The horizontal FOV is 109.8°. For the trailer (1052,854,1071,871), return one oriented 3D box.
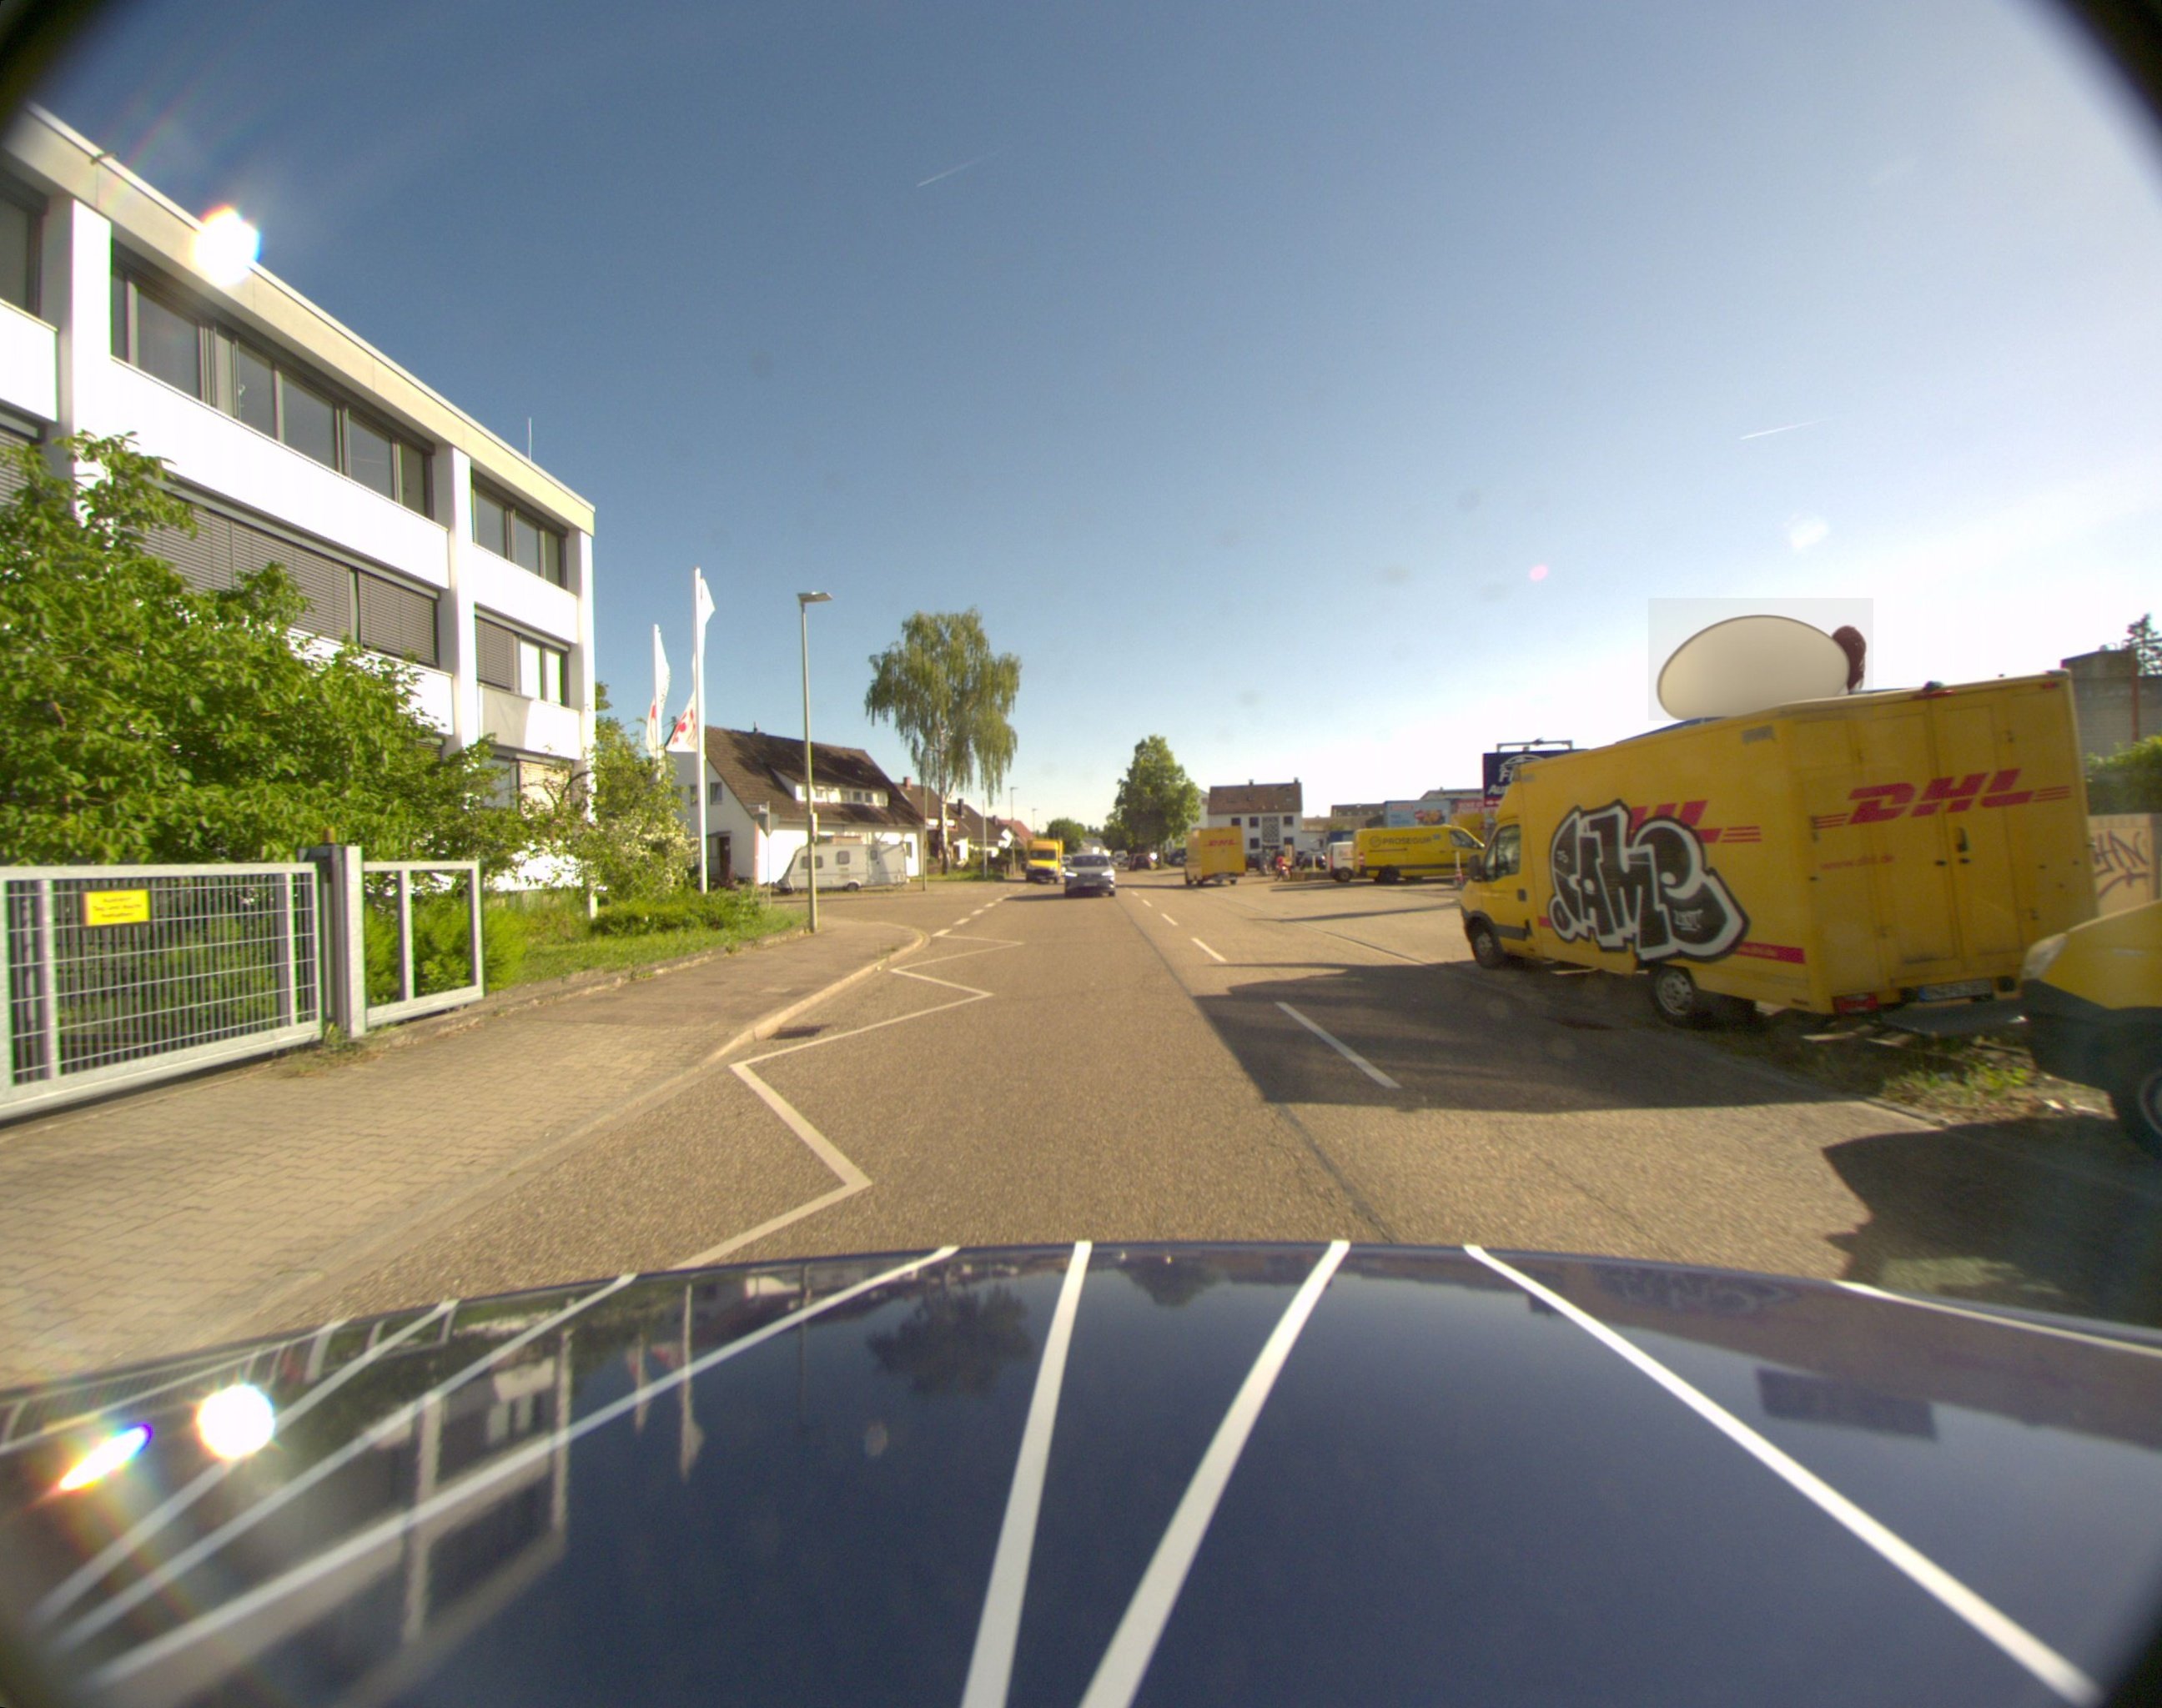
[{"bbox_3d":[-1.876,0.820,74.241,1.631,1.529,3.198,-1,0,2],"label":"trailer"}]

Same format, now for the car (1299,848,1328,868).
[{"bbox_3d":[18.553,0.331,60.758,1.779,1.536,4.168,-1,-1,12],"label":"car"}]

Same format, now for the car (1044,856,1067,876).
[{"bbox_3d":[-2.164,0.930,62.683,1.788,1.533,4.536,-1,0,-3],"label":"car"}]

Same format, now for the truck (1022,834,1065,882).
[{"bbox_3d":[-2.370,0.207,50.301,2.409,2.919,7.015,1,0,0],"label":"truck"}]

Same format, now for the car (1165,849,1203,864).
[{"bbox_3d":[11.936,0.280,88.212,4.258,1.742,1.766,-1,0,4],"label":"car"}]

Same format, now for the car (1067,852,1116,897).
[{"bbox_3d":[0.373,0.782,30.017,1.777,1.624,3.704,-1,-1,-1],"label":"car"}]

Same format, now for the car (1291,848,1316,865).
[{"bbox_3d":[21.661,0.205,73.944,1.667,1.555,3.851,-1,0,7],"label":"car"}]

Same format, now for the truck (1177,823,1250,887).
[{"bbox_3d":[6.828,0.036,40.134,2.409,2.965,7.244,-3,0,-1],"label":"truck"}]

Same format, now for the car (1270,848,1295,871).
[{"bbox_3d":[16.594,0.472,62.660,1.779,1.738,4.168,-1,-1,12],"label":"car"}]

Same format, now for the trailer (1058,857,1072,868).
[{"bbox_3d":[-1.903,0.978,90.978,1.631,1.210,3.144,-1,0,-2],"label":"trailer"}]

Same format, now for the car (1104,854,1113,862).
[{"bbox_3d":[6.557,0.978,180.787,1.899,2.019,4.818,0,0,1],"label":"car"}]

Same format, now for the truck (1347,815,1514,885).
[{"bbox_3d":[14.409,-0.147,31.727,5.931,2.552,2.226,-3,0,12],"label":"truck"}]

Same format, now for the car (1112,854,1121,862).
[{"bbox_3d":[7.253,0.860,154.331,1.697,1.556,3.907,-4,0,3],"label":"car"}]

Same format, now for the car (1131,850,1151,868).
[{"bbox_3d":[6.217,0.481,79.171,1.678,1.761,4.555,-4,0,0],"label":"car"}]

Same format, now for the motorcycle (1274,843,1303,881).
[{"bbox_3d":[10.814,0.428,39.749,0.783,1.862,3.042,-4,-1,4],"label":"motorcycle"}]

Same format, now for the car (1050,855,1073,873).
[{"bbox_3d":[-1.716,0.866,67.693,1.678,1.533,4.044,-2,0,4],"label":"car"}]

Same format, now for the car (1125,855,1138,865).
[{"bbox_3d":[7.397,0.858,112.117,1.691,1.427,4.209,-4,0,2],"label":"car"}]

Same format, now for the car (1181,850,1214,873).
[{"bbox_3d":[9.449,0.561,61.794,1.866,1.704,4.276,-4,0,0],"label":"car"}]

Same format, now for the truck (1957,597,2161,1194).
[{"bbox_3d":[6.230,0.160,1.229,2.198,2.885,6.439,-3,0,2],"label":"truck"}]

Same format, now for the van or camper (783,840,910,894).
[{"bbox_3d":[-11.790,0.600,38.294,5.840,2.526,2.285,-1,0,-25],"label":"van or camper"}]

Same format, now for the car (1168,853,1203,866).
[{"bbox_3d":[12.953,0.701,94.746,4.257,1.533,1.766,-2,0,6],"label":"car"}]

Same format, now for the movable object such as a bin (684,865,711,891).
[{"bbox_3d":[-21.392,1.339,42.374,0.834,1.428,0.993,-1,0,24],"label":"movable object such as a bin"}]

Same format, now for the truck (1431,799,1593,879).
[{"bbox_3d":[19.027,-0.618,33.889,5.678,3.101,2.525,-3,0,12],"label":"truck"}]

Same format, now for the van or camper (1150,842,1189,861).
[{"bbox_3d":[11.861,-0.304,101.477,4.900,2.307,2.245,-2,1,11],"label":"van or camper"}]

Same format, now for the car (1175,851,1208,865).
[{"bbox_3d":[13.431,0.458,92.681,3.814,1.533,1.548,-2,0,1],"label":"car"}]

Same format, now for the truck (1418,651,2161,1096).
[{"bbox_3d":[6.395,0.135,8.454,2.409,2.965,6.373,-3,0,1],"label":"truck"}]

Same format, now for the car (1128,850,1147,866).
[{"bbox_3d":[6.365,0.445,85.451,1.808,1.742,4.342,-3,0,1],"label":"car"}]

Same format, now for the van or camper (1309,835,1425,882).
[{"bbox_3d":[13.055,0.189,34.939,4.552,2.002,2.252,-1,0,7],"label":"van or camper"}]

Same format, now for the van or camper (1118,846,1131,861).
[{"bbox_3d":[7.698,-0.052,134.588,2.127,2.474,5.558,0,-2,2],"label":"van or camper"}]

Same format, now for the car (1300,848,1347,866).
[{"bbox_3d":[22.134,0.288,69.504,3.993,1.442,1.671,-1,2,14],"label":"car"}]

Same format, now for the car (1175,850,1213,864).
[{"bbox_3d":[13.563,0.333,91.521,4.260,1.576,1.766,-2,0,0],"label":"car"}]
